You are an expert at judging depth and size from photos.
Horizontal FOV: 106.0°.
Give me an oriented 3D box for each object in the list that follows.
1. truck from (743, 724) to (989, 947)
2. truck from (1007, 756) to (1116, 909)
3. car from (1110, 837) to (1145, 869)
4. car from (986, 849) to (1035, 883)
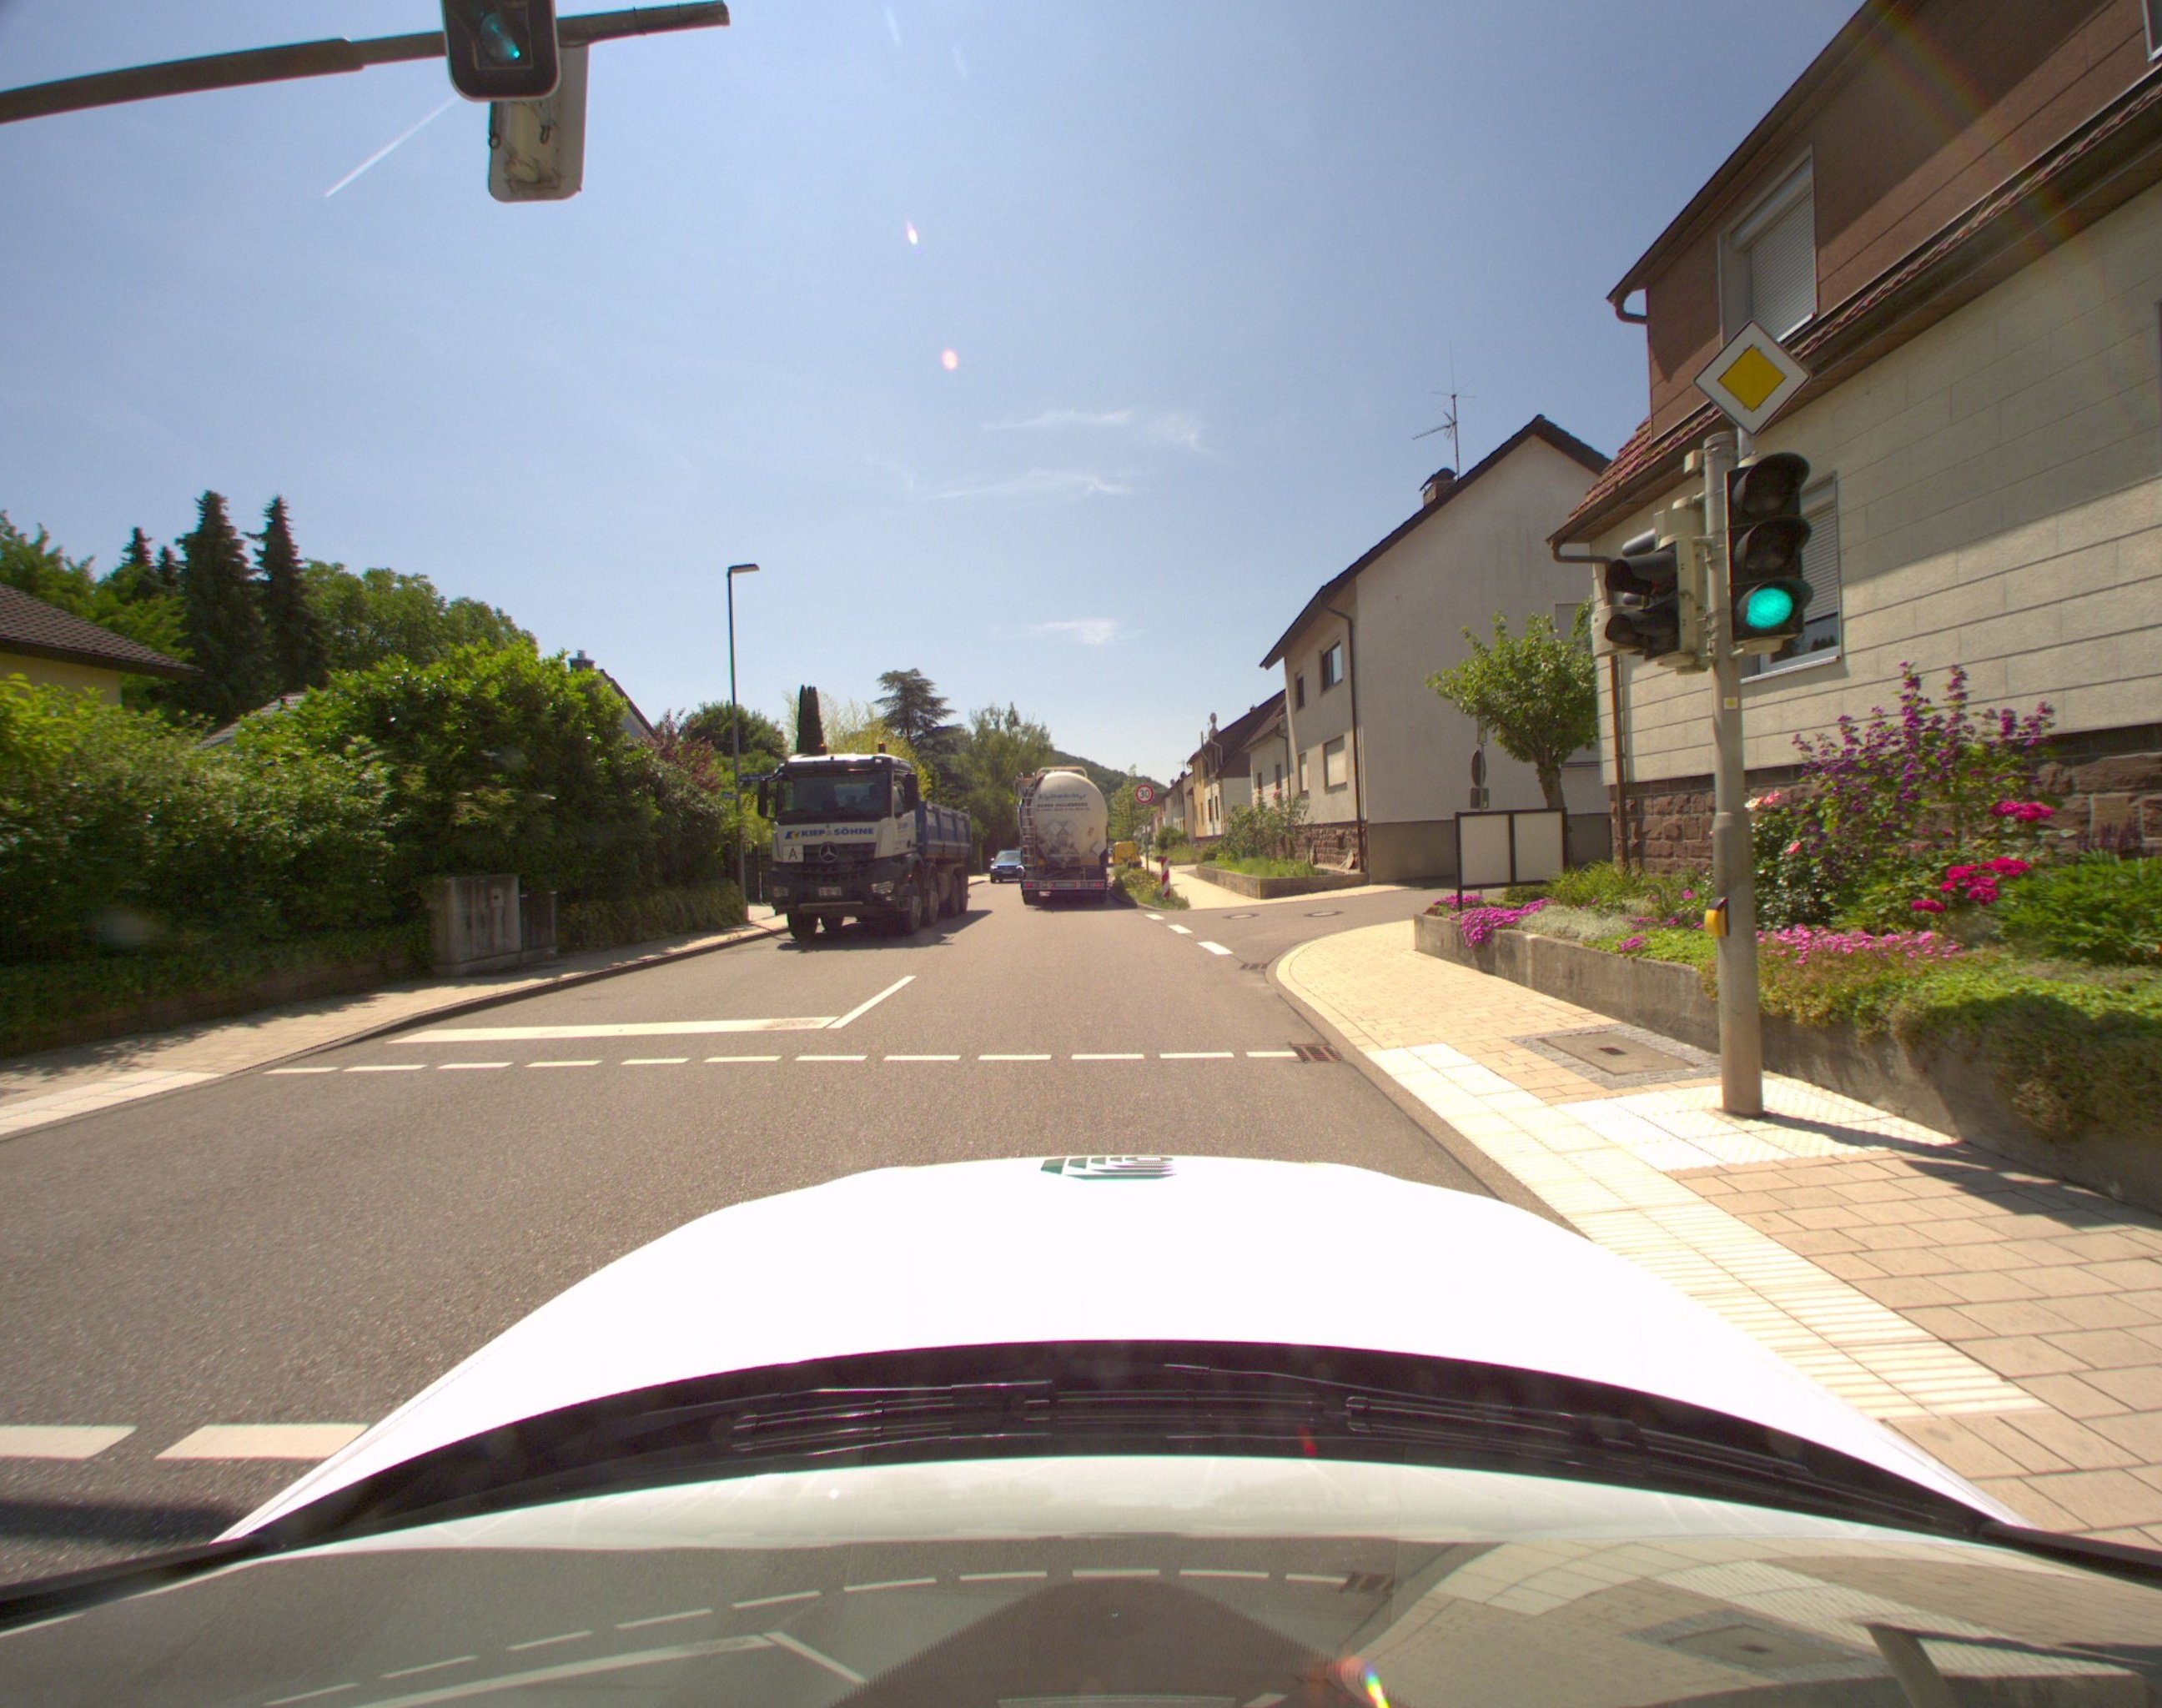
[{"bbox_3d":[-4.224,-0.342,18.384,2.530,3.738,8.631,-3,0,4],"label":"truck"},{"bbox_3d":[-0.303,-0.626,27.351,2.739,4.056,10.898,-1,1,3],"label":"truck"},{"bbox_3d":[3.325,-0.031,59.684,2.182,2.013,5.624,-6,-1,1],"label":"car"},{"bbox_3d":[-3.550,0.597,41.851,1.880,1.645,4.616,-1,0,3],"label":"car"}]
